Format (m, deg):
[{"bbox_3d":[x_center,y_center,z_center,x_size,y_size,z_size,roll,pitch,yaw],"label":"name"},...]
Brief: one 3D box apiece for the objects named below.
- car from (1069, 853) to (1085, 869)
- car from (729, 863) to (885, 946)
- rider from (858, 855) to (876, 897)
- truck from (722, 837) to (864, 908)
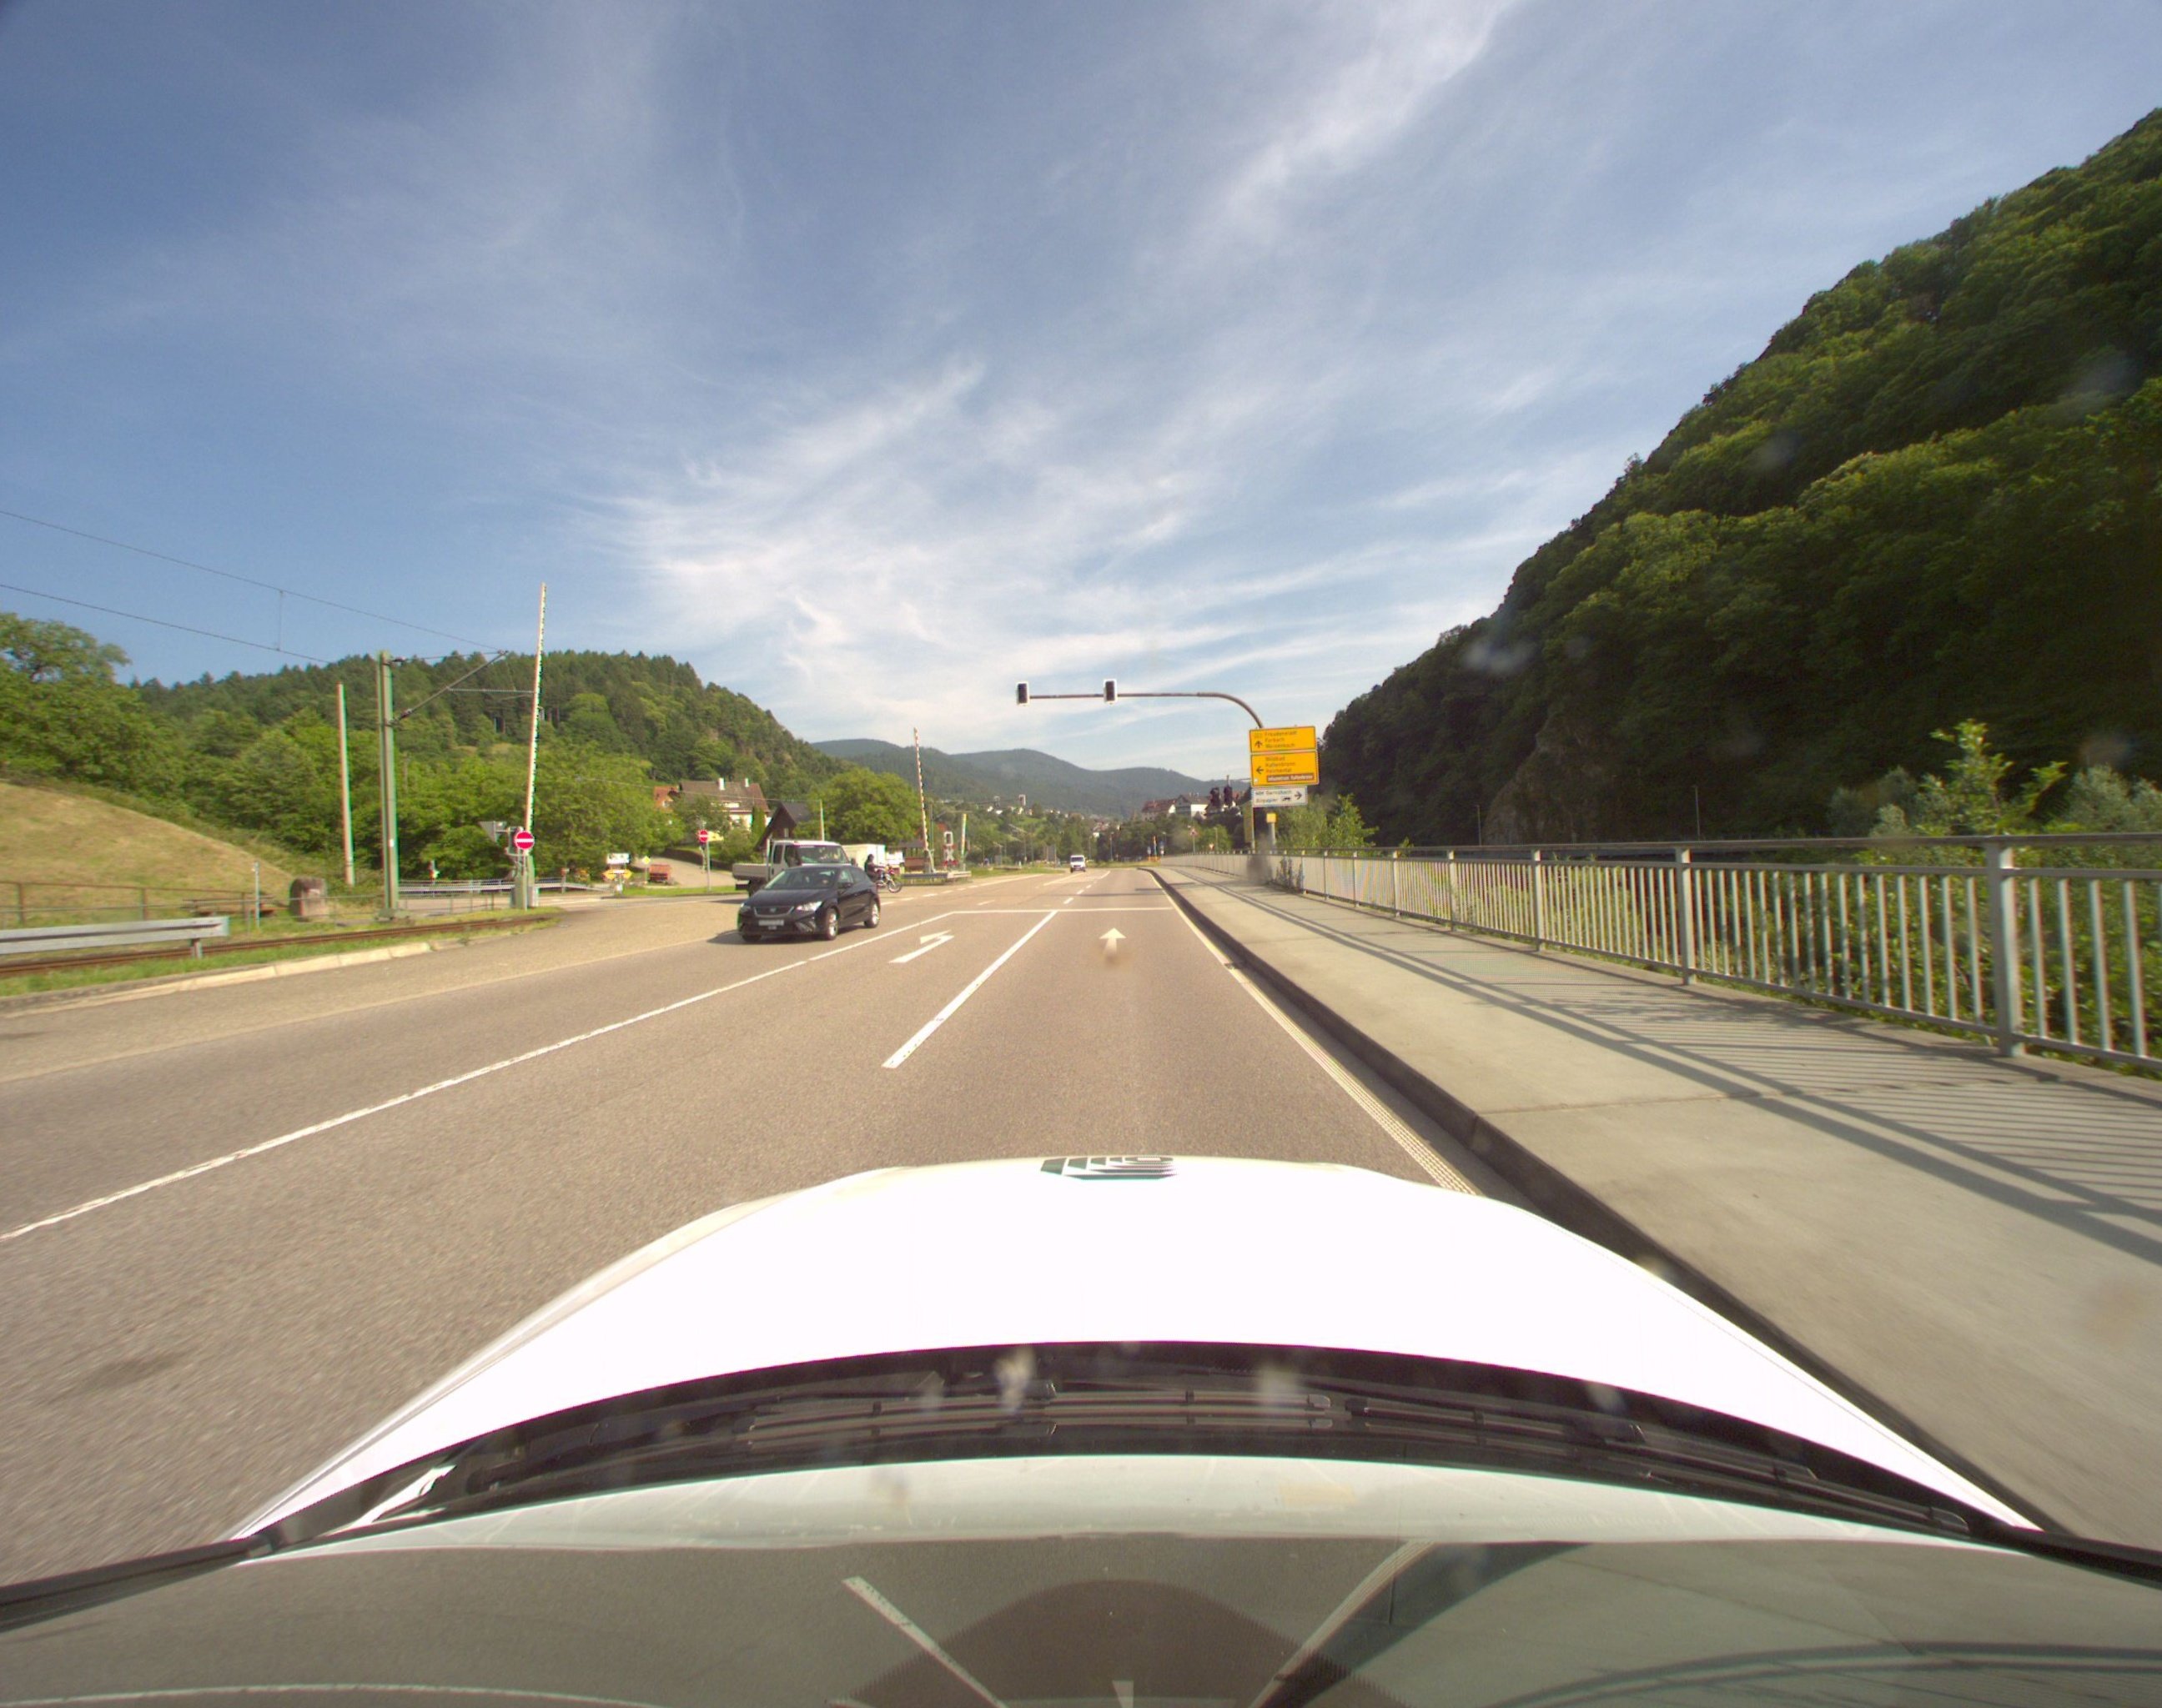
[{"bbox_3d":[-0.485,0.951,109.649,1.986,2.014,4.558,-1,-1,2],"label":"car"},{"bbox_3d":[-5.423,0.932,16.644,1.766,1.416,3.787,-1,0,2],"label":"car"},{"bbox_3d":[-9.597,0.982,36.590,0.753,1.819,0.740,0,0,-13],"label":"rider"},{"bbox_3d":[-10.258,0.644,28.750,5.926,2.266,2.013,-2,0,41],"label":"truck"}]
